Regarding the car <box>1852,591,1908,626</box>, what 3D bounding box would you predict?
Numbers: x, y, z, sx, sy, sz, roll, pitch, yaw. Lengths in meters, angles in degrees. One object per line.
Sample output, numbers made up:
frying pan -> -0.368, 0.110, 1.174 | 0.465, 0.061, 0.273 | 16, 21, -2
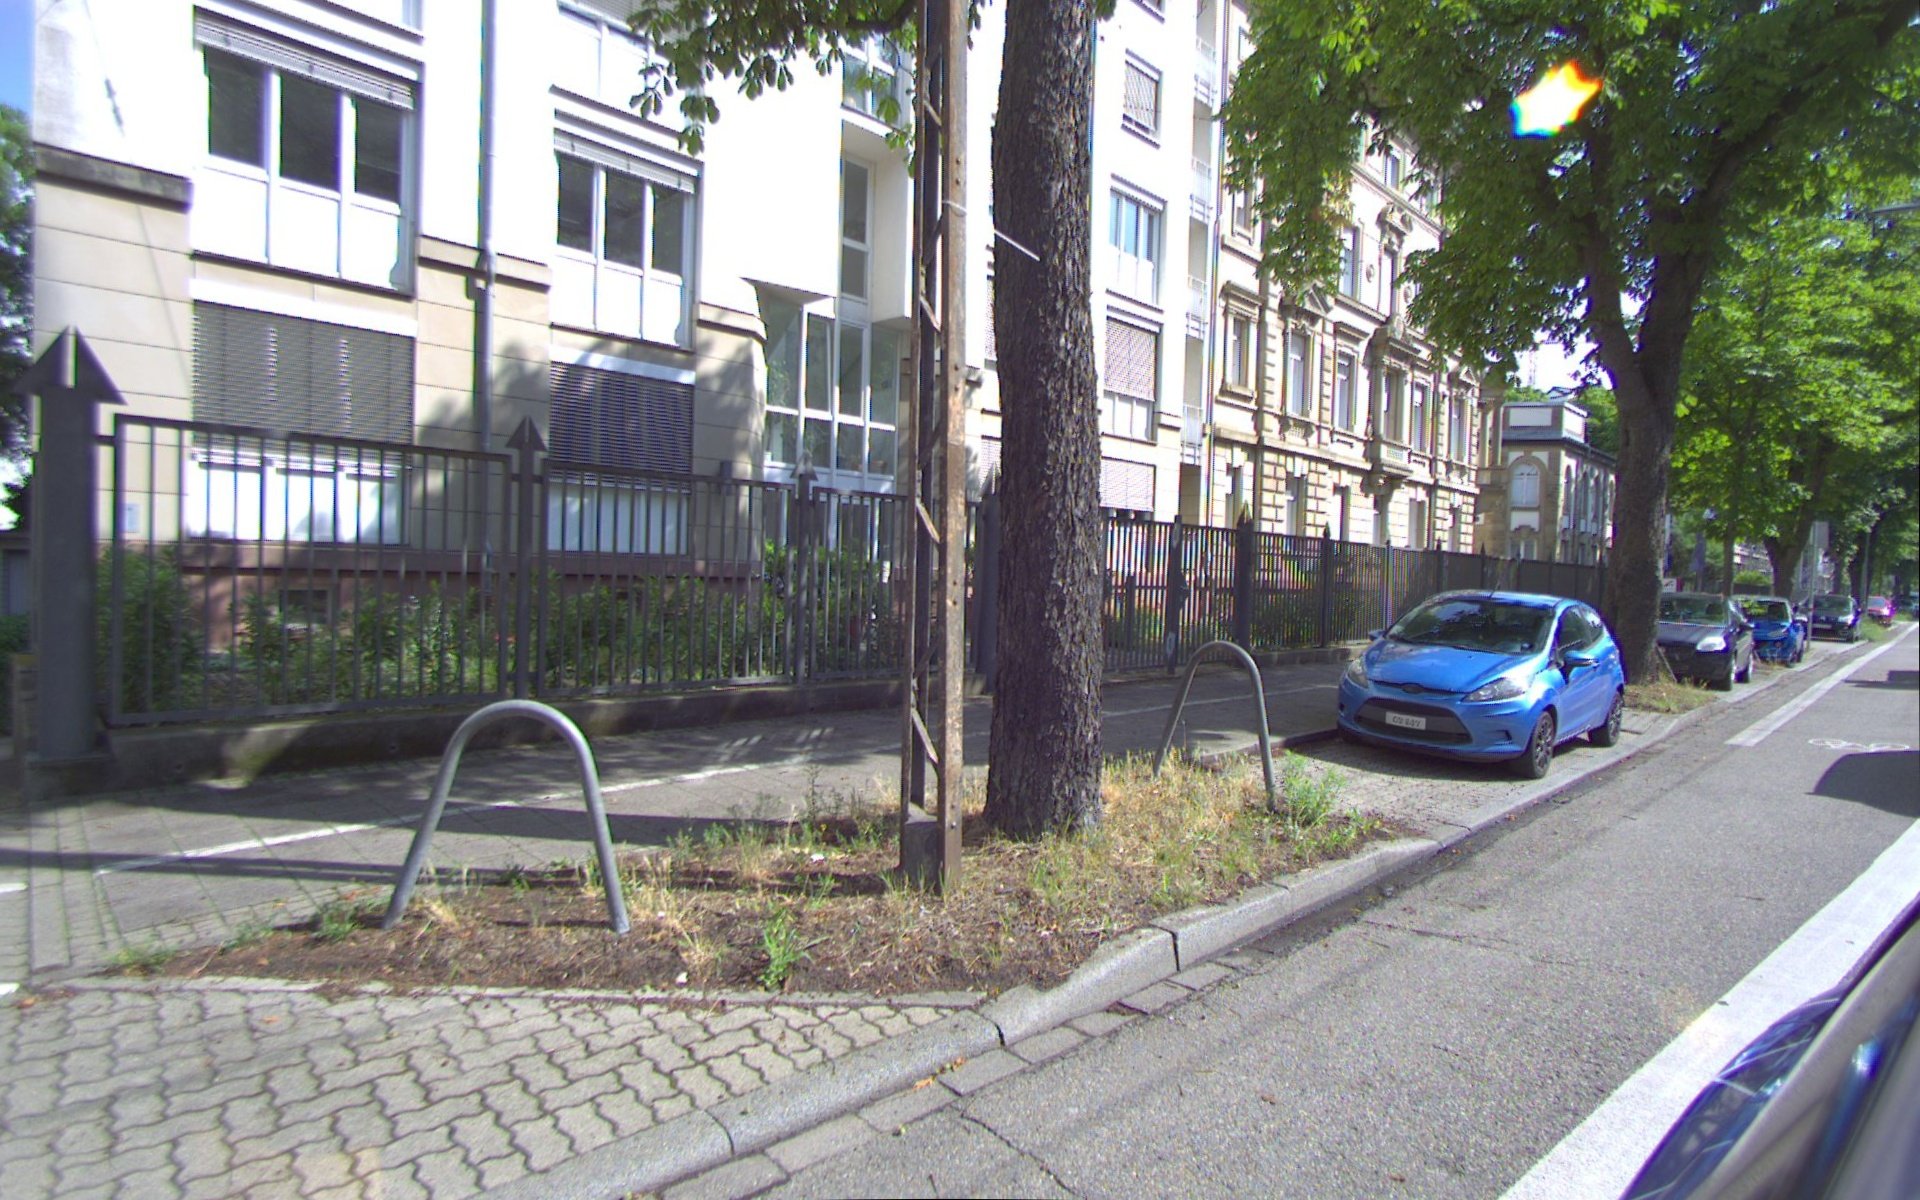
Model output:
car -> 46.837, 0.401, 51.479 | 4.130, 1.591, 1.772 | 0, 4, -44

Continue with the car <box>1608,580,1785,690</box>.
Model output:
car -> 12.189, 0.499, 16.676 | 3.562, 1.526, 1.643 | 0, 4, -43

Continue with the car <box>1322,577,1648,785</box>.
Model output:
car -> 5.034, 0.590, 9.489 | 1.639, 1.472, 3.639 | 6, 4, 45

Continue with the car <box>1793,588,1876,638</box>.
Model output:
car -> 30.847, 0.425, 35.653 | 4.130, 1.549, 1.772 | 0, 4, -44

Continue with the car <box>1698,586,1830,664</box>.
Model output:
car -> 17.818, 0.489, 22.360 | 3.861, 1.469, 1.722 | 0, 4, -44
